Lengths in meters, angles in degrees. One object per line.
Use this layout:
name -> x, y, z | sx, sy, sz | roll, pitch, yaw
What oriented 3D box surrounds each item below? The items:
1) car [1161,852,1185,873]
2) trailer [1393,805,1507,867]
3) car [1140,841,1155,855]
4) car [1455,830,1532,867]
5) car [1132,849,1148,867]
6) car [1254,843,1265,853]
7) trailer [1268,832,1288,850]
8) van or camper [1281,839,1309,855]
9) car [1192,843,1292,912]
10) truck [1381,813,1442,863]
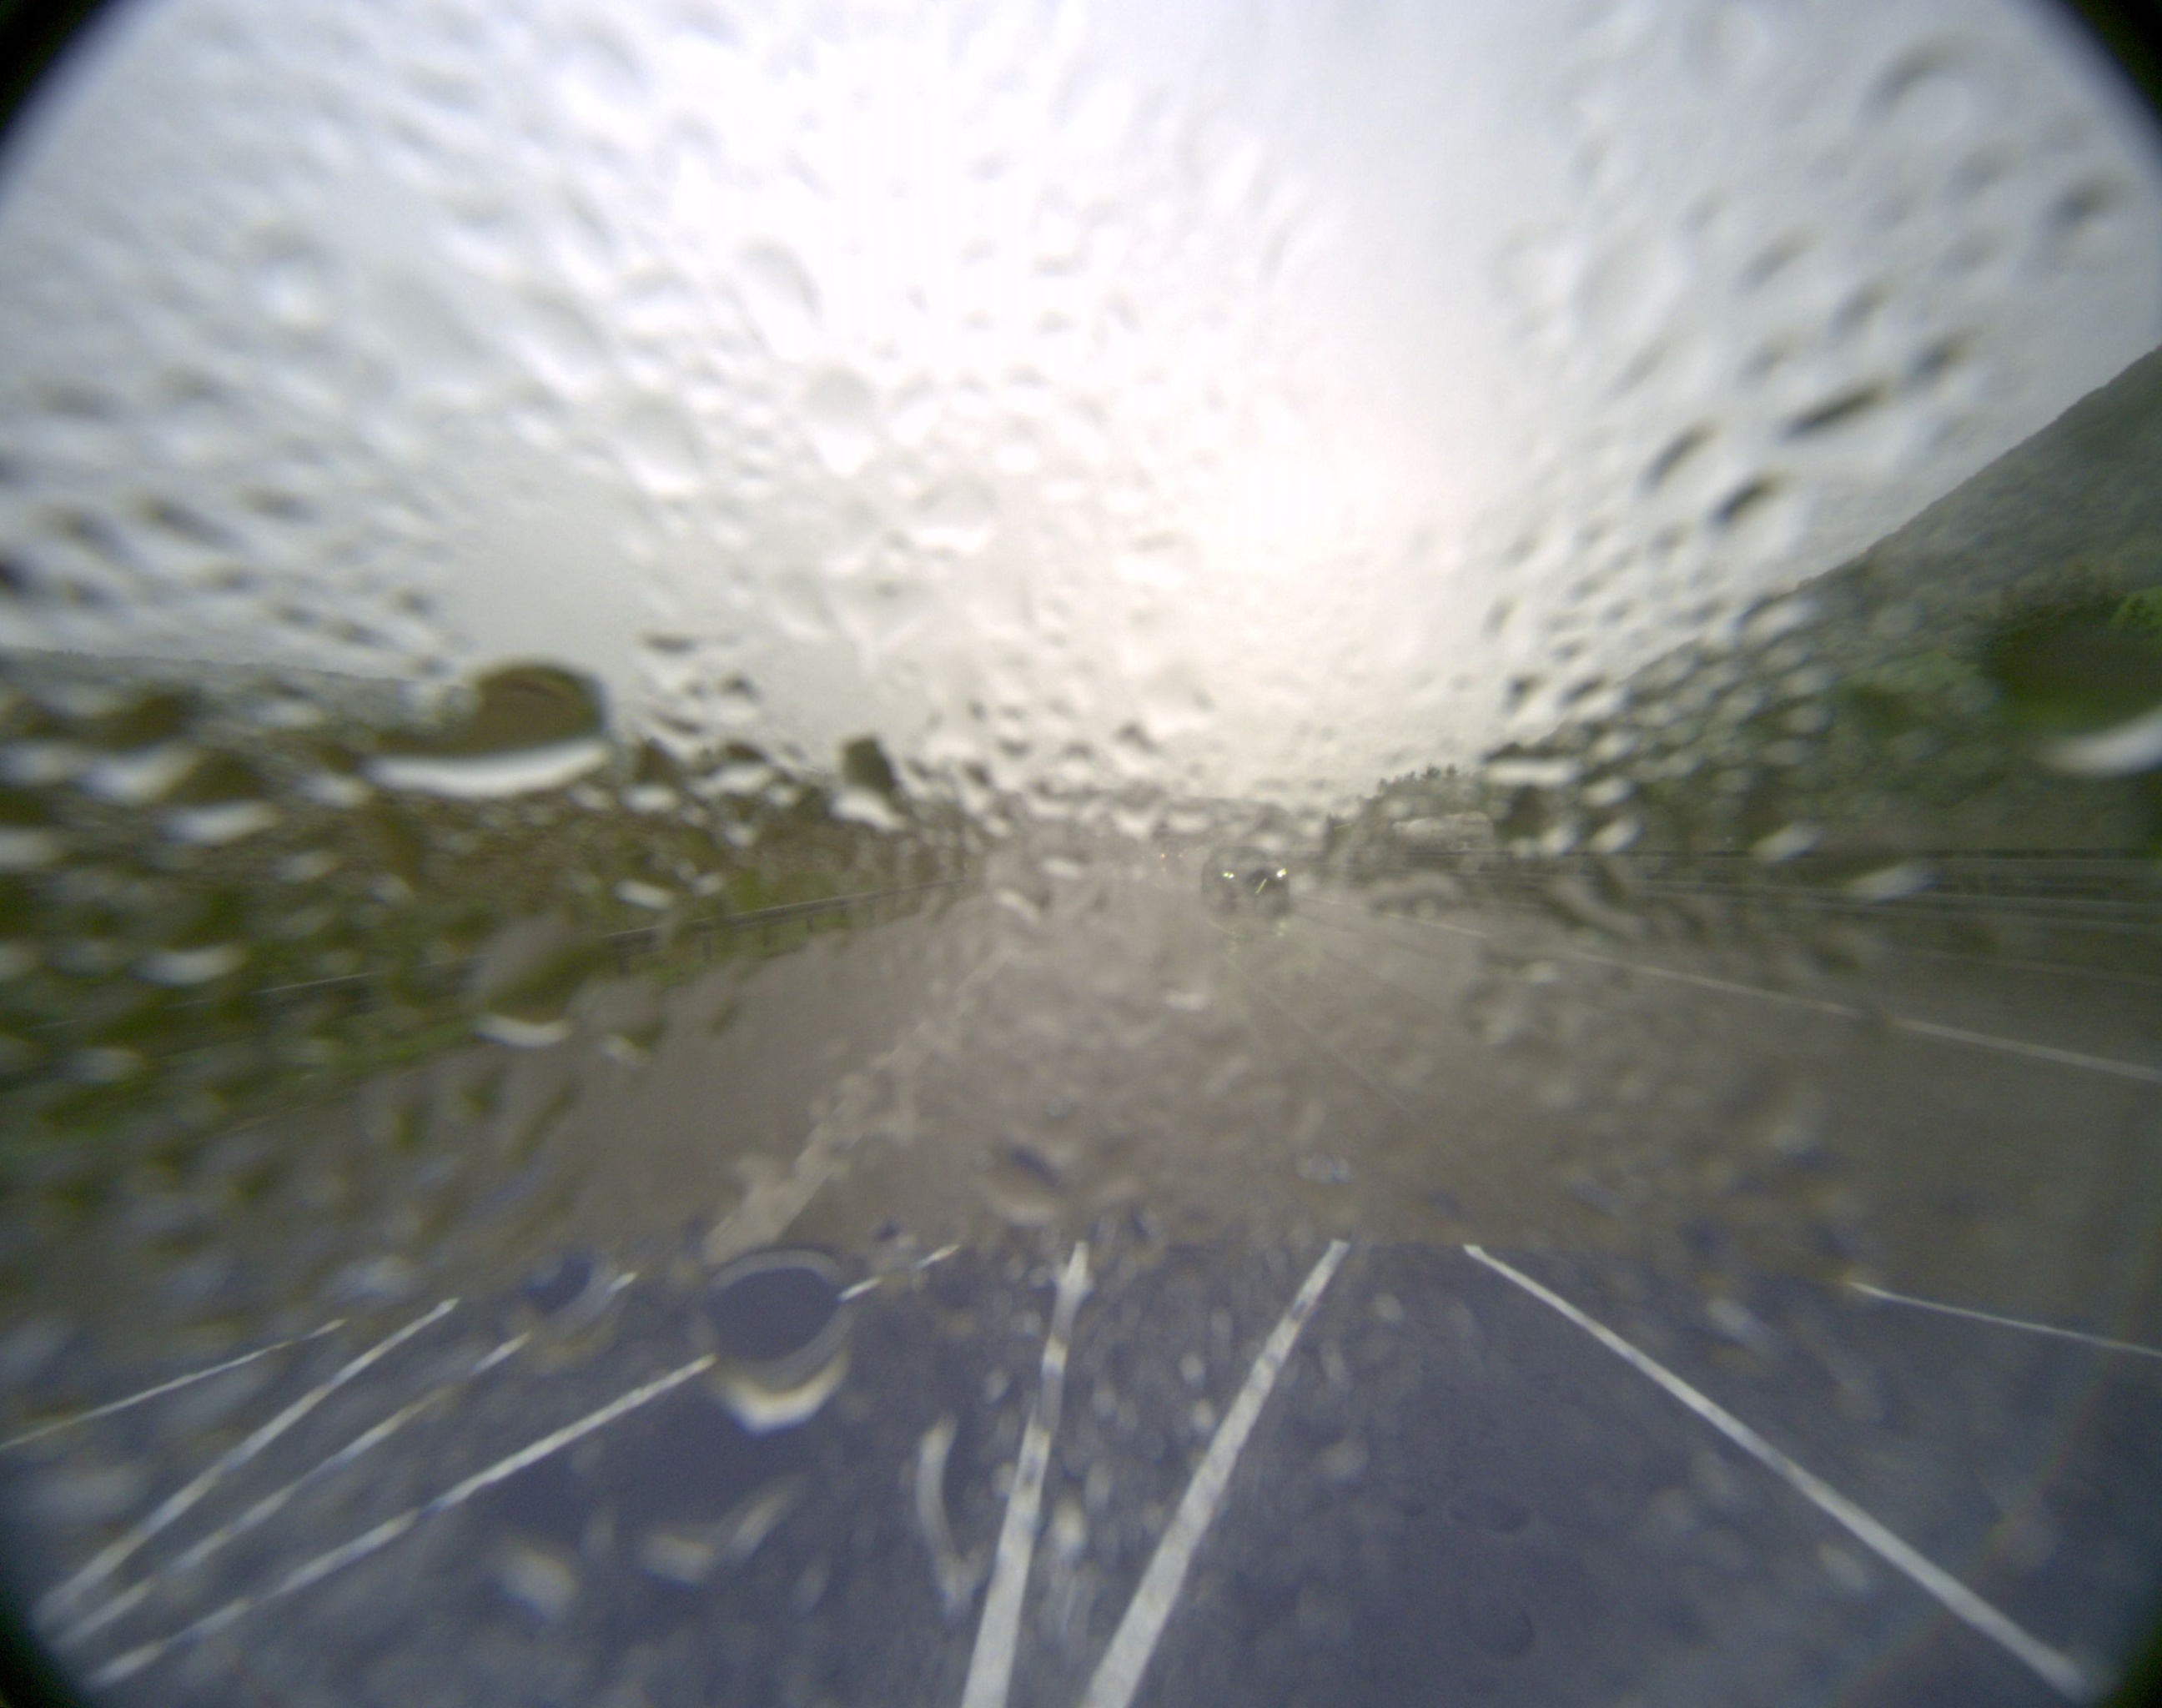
car -> 9.221, 0.832, 76.170 | 1.987, 2.002, 3.934 | -2, 0, 2
trailer -> 25.969, -1.209, 54.411 | 2.939, 3.880, 12.571 | -2, 0, 5
car -> 10.138, -0.915, 116.217 | 1.998, 2.002, 4.000 | -2, 0, 2
car -> 20.725, -0.274, 38.370 | 1.998, 1.724, 4.001 | -2, 1, 5
car -> 7.522, 0.512, 96.687 | 1.835, 2.002, 3.939 | -4, 1, 5
car -> 39.703, -1.352, 168.840 | 1.917, 2.002, 4.001 | -2, 1, 6
trailer -> 41.067, -2.657, 158.266 | 2.725, 3.471, 9.399 | -2, 1, 7
van or camper -> 25.517, -0.854, 90.594 | 1.998, 1.867, 5.346 | -2, 1, 3
car -> 4.505, 0.586, 21.875 | 1.815, 1.692, 3.747 | -4, 1, -3
truck -> 26.570, -1.243, 61.350 | 2.890, 3.780, 5.317 | -2, 1, 5
